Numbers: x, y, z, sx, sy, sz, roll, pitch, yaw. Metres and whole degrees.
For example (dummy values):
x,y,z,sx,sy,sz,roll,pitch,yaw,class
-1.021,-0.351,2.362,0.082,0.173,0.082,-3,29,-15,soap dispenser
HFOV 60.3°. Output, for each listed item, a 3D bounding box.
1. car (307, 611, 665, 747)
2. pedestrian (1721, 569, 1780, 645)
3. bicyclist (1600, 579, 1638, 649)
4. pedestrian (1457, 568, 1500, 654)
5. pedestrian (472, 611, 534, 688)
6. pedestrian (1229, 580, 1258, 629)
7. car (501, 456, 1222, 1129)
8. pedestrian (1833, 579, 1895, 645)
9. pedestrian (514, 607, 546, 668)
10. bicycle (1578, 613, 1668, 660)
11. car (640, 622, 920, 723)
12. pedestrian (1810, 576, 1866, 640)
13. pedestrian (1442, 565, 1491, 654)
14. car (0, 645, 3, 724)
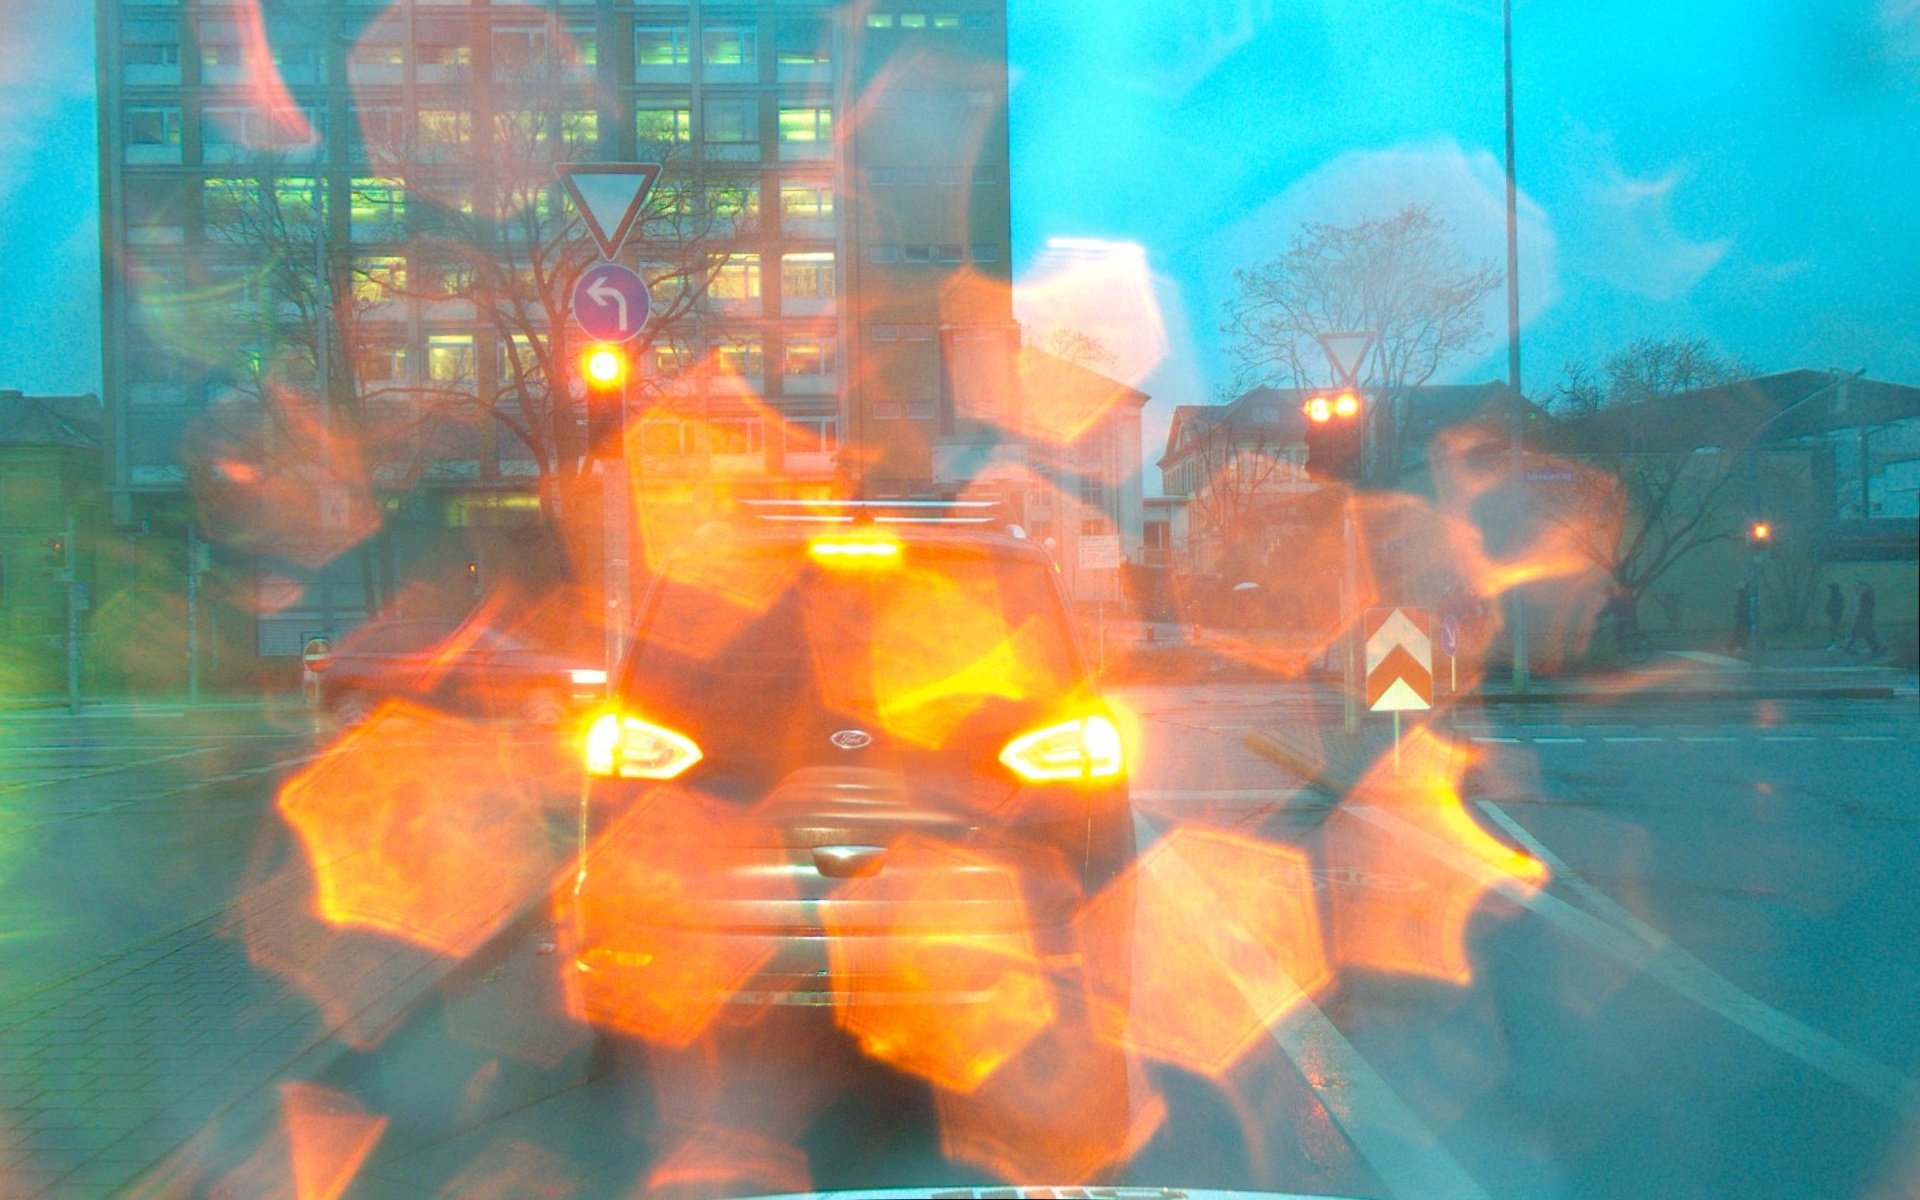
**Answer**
x,y,z,sx,sy,sz,roll,pitch,yaw,class
-6.101,1.006,21.480,4.035,1.610,1.843,-2,-1,11,car
19.717,0.163,41.279,0.976,1.831,0.919,-2,0,0,pedestrian
15.703,0.330,39.417,0.670,1.627,0.660,-2,0,7,bicyclist
13.166,0.275,42.028,0.874,2.150,0.886,-2,0,11,pedestrian
-11.768,1.271,42.617,0.981,1.874,1.139,-2,2,22,pedestrian
9.842,0.143,57.458,0.706,1.656,0.760,-2,0,32,pedestrian
-0.293,0.542,6.548,1.953,1.821,3.999,1,0,-1,car
22.028,0.276,40.306,0.905,1.559,1.043,-2,0,0,pedestrian
-12.516,1.091,48.126,0.625,1.718,0.637,-2,0,16,pedestrian
15.784,0.867,39.413,1.843,1.066,0.660,-2,0,7,bicycle
-2.576,1.034,24.053,3.674,1.324,1.703,-2,-1,11,car
21.945,0.189,41.354,0.875,1.559,0.886,-2,0,0,pedestrian
12.586,0.224,41.105,0.875,2.150,0.886,-2,0,-1,pedestrian
-18.624,1.490,27.538,4.584,1.324,1.940,-2,-1,14,car
